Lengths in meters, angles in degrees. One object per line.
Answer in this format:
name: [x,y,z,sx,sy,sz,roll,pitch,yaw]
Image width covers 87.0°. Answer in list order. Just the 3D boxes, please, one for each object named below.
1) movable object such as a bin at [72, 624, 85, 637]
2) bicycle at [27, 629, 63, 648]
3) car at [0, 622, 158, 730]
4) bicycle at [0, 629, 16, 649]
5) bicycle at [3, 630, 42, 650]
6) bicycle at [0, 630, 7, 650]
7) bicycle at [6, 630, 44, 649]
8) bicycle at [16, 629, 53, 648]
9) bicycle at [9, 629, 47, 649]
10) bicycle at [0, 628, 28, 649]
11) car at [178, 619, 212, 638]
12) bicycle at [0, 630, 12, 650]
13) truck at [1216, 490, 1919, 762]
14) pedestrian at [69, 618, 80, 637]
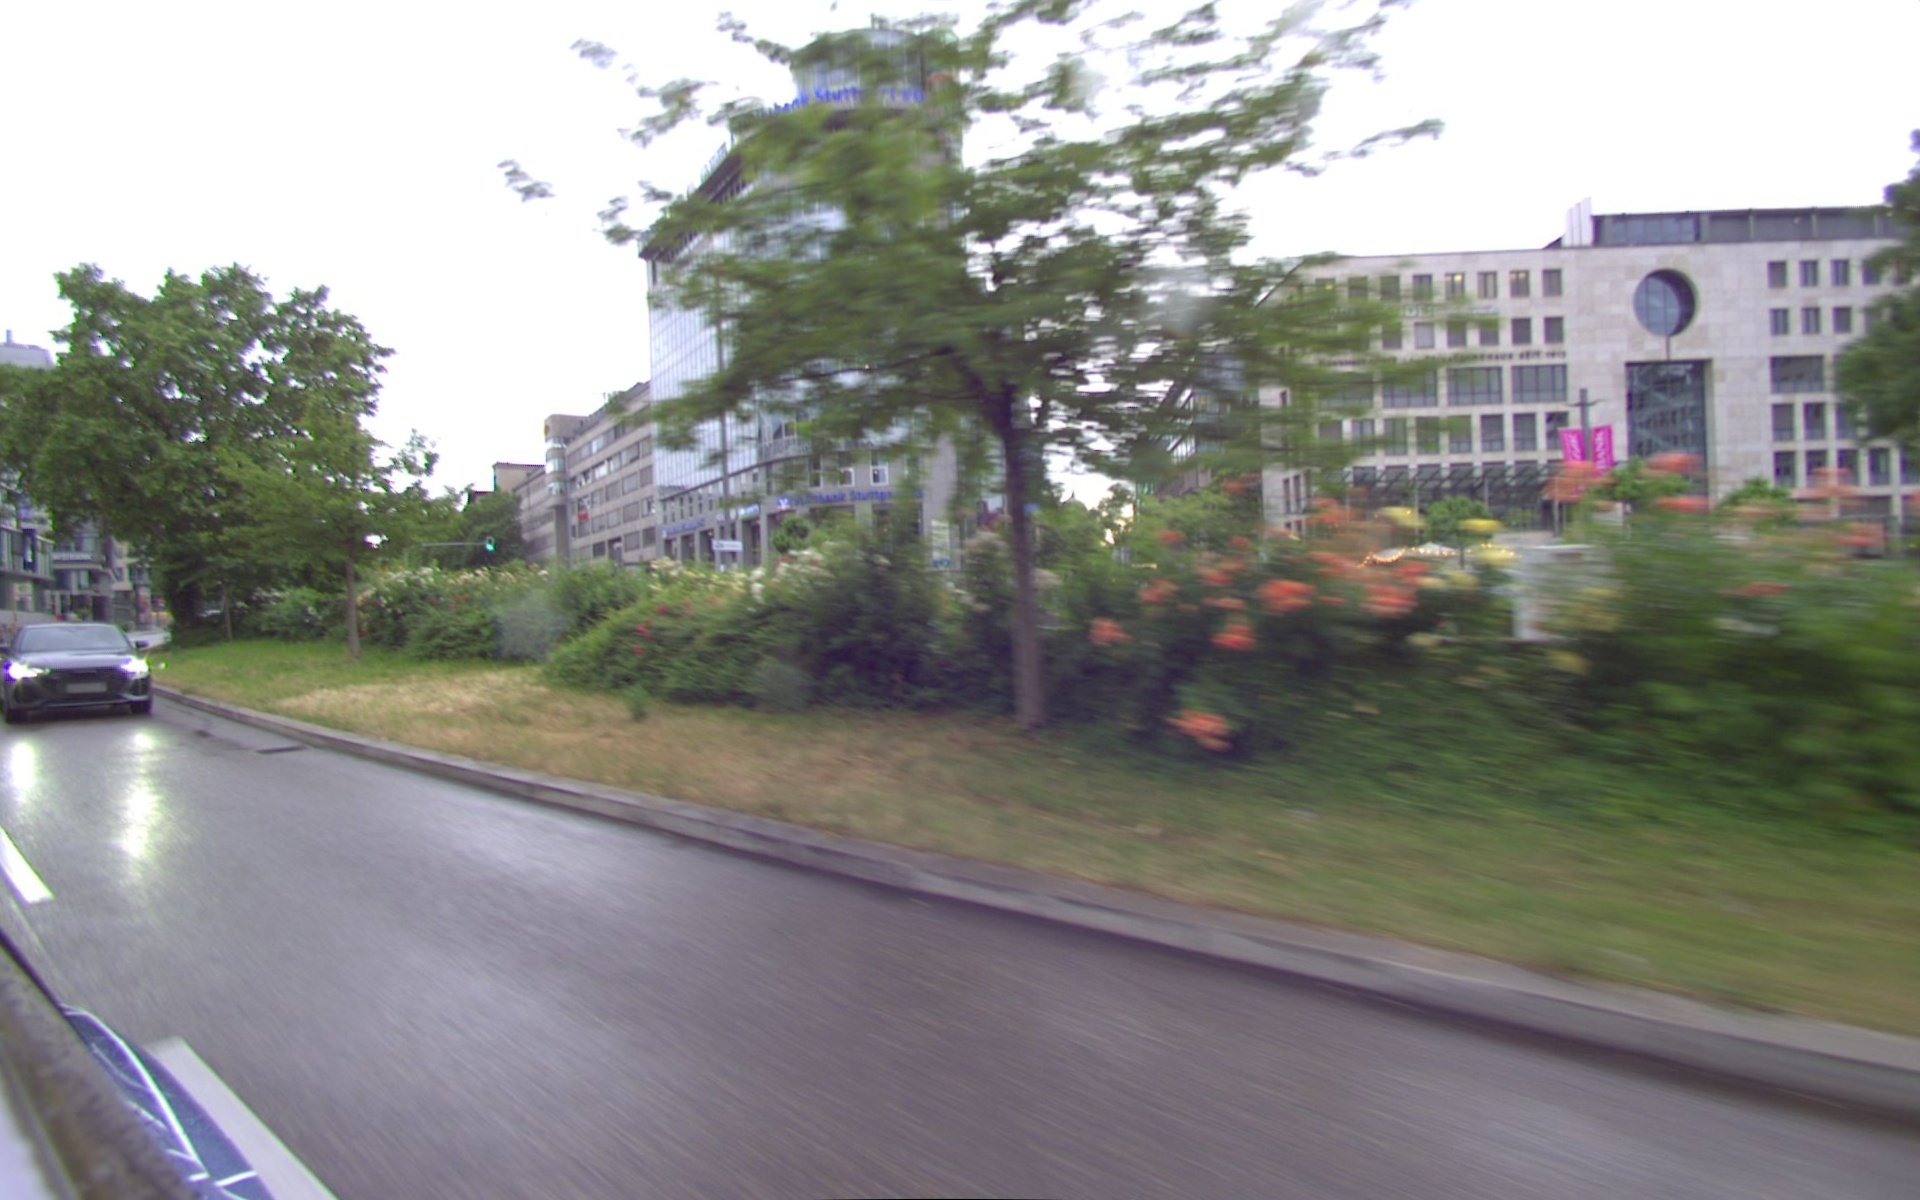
movable object such as a bin: [-87.315,2.986,100.245,0.791,1.275,1.793,0,-1,-33]
bicycle: [-60.619,2.520,67.049,1.707,1.192,0.690,-1,-1,-38]
car: [-15.225,1.195,17.285,4.347,1.529,1.840,-2,0,45]
bicycle: [-56.772,2.334,59.673,1.514,1.149,0.691,-2,1,-38]
bicycle: [-58.515,2.476,63.208,1.707,1.149,0.690,-1,-1,-38]
bicycle: [-55.951,2.346,58.237,1.514,1.149,0.664,-2,1,-38]
bicycle: [-58.978,2.496,63.866,1.707,1.149,0.690,-1,-1,-38]
bicycle: [-60.344,2.509,65.981,1.707,1.192,0.690,-1,-1,-38]
bicycle: [-59.435,2.485,64.558,1.707,1.192,0.690,-1,-1,-38]
bicycle: [-56.955,2.319,60.527,1.684,1.149,0.691,-2,1,-38]
car: [-73.284,2.723,96.987,2.039,1.599,4.119,-4,2,-31]
bicycle: [-56.376,2.341,58.987,1.514,1.149,0.691,-2,1,-38]
truck: [7.899,0.269,13.035,3.326,2.529,8.486,-2,0,-42]
pedestrian: [-88.396,2.716,101.054,0.712,1.844,0.749,0,-1,-33]
